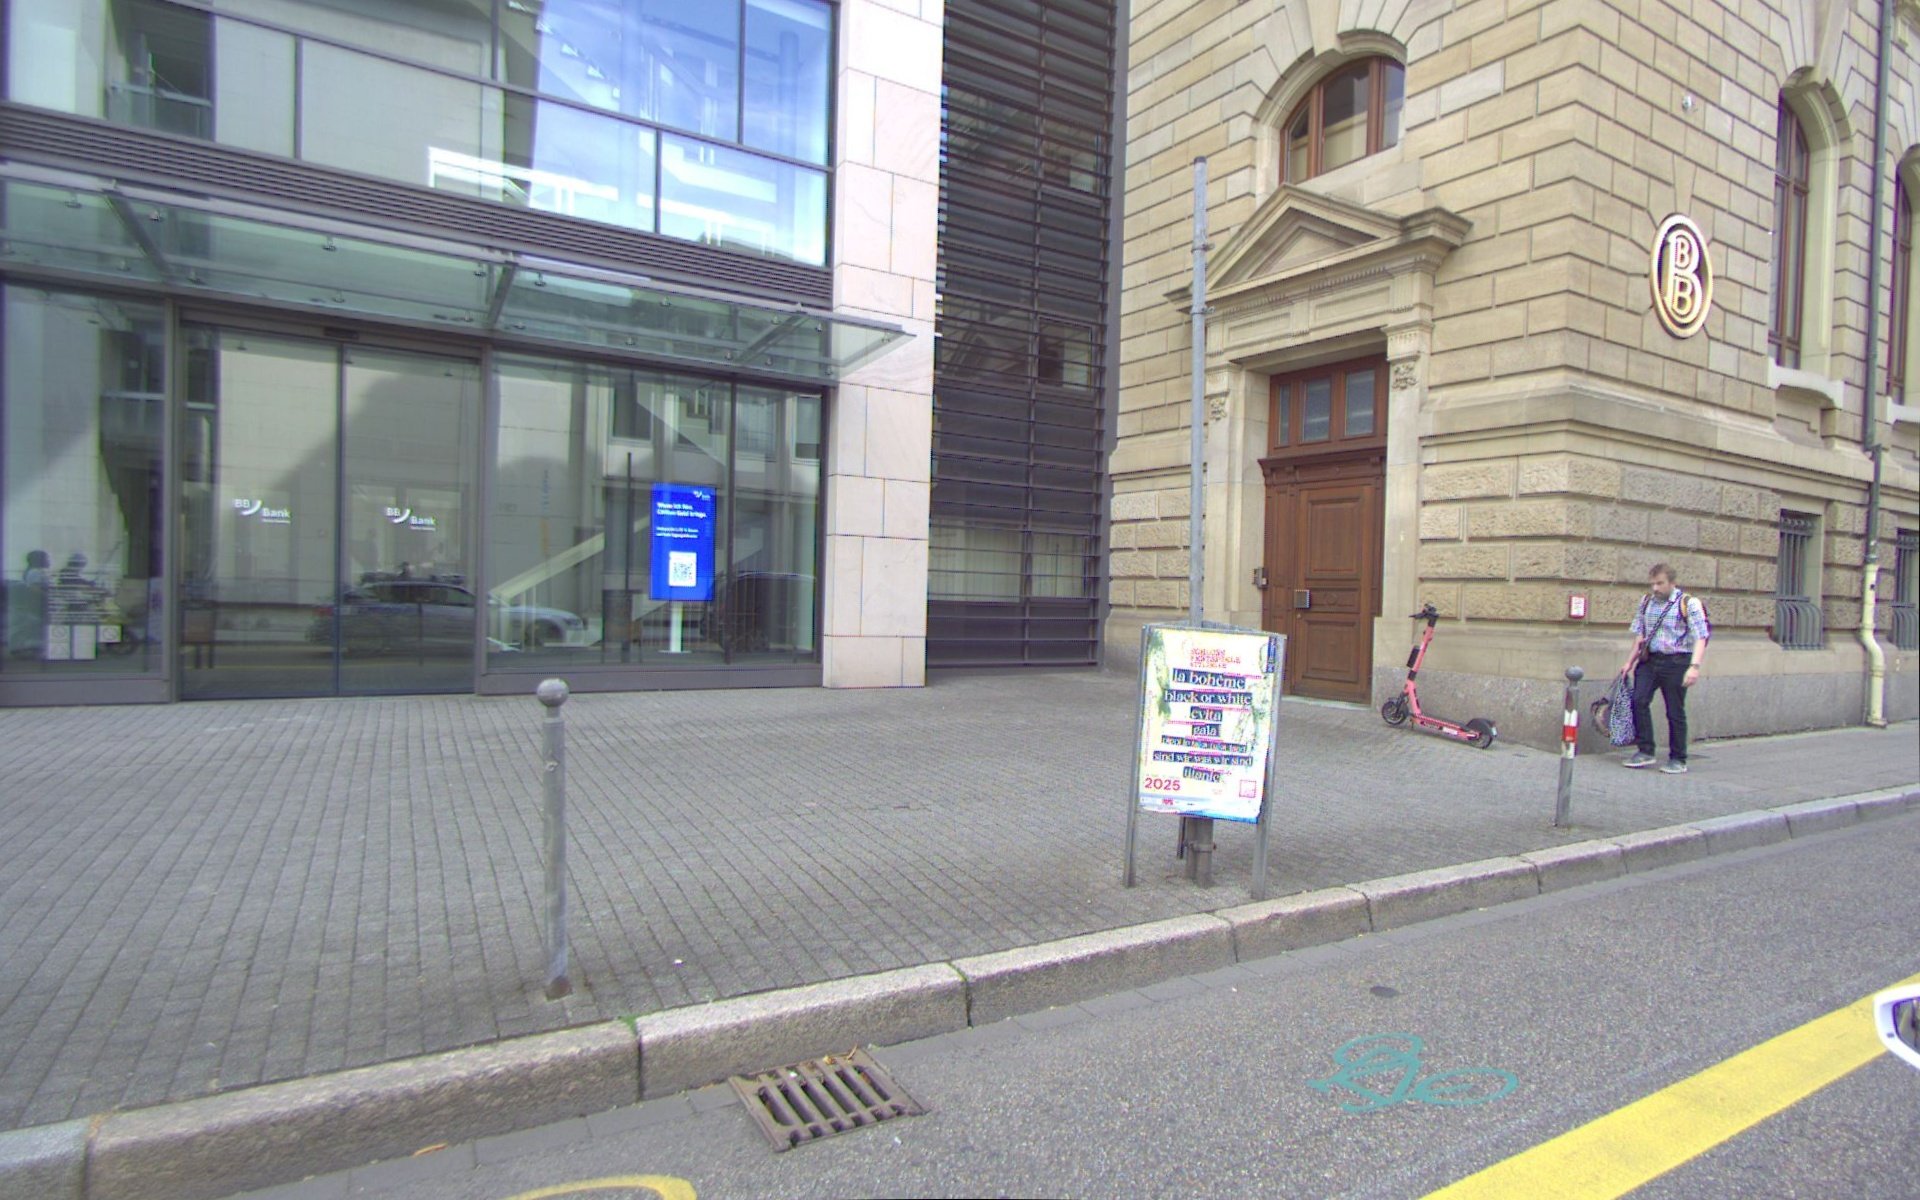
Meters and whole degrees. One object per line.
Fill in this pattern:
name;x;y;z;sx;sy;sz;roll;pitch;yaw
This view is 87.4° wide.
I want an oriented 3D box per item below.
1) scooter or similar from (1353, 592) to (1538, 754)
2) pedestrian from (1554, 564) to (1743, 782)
scooter or similar;4.551;0.637;9.512;0.580;1.328;1.439;0;4;-30
pedestrian;5.977;0.590;8.755;0.809;1.743;1.021;2;2;-30
